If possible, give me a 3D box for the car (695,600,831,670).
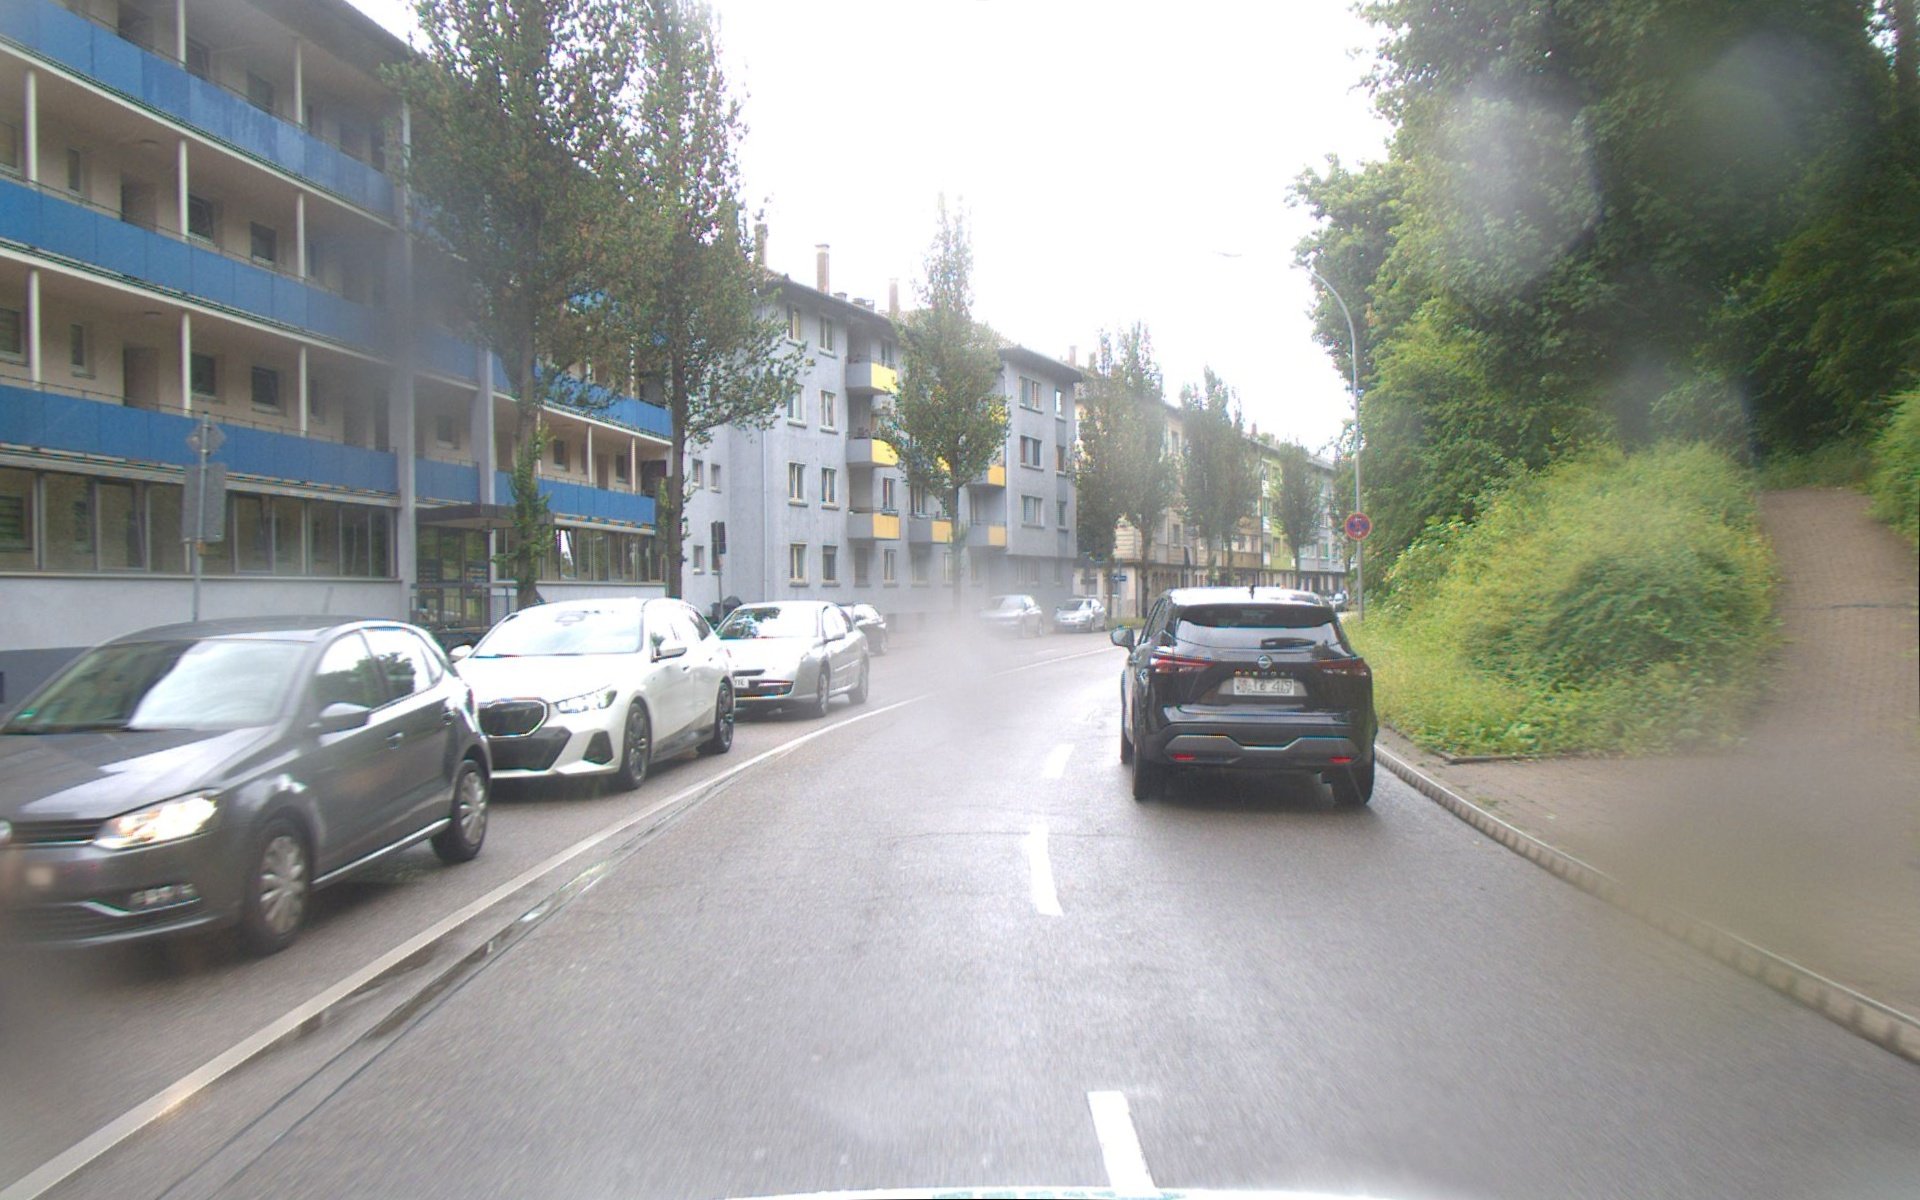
[{"bbox_3d":[-4.543,0.781,38.816,1.742,1.427,4.092,-3,0,14],"label":"car"}]

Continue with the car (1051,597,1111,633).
[{"bbox_3d":[5.301,0.646,72.031,1.688,1.478,4.208,-2,0,17],"label":"car"}]

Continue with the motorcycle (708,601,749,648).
[{"bbox_3d":[-7.376,0.760,52.802,0.661,1.438,2.238,1,0,8],"label":"motorcycle"}]

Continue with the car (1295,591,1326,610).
[{"bbox_3d":[28.654,0.055,135.047,1.780,1.396,4.681,-3,0,20],"label":"car"}]

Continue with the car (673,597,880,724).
[{"bbox_3d":[-2.298,0.721,21.936,1.715,1.450,4.540,-1,0,7],"label":"car"}]

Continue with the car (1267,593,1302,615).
[{"bbox_3d":[24.260,0.284,123.604,1.683,1.514,4.515,-3,0,21],"label":"car"}]

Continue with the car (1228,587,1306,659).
[{"bbox_3d":[7.837,0.552,42.158,1.846,1.741,4.004,-1,0,11],"label":"car"}]

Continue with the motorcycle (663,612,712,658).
[{"bbox_3d":[-7.969,1.001,48.438,0.660,1.276,2.238,1,0,11],"label":"motorcycle"}]

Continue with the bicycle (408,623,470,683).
[{"bbox_3d":[-9.609,0.963,30.532,0.599,1.041,1.733,-2,0,-1],"label":"bicycle"}]

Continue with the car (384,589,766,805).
[{"bbox_3d":[-3.170,0.716,14.830,1.782,1.543,5.031,-3,0,5],"label":"car"}]

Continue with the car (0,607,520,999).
[{"bbox_3d":[-3.659,0.821,8.396,1.645,1.472,3.821,-2,0,2],"label":"car"}]

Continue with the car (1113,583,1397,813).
[{"bbox_3d":[2.259,0.668,13.655,1.806,1.610,4.002,0,1,3],"label":"car"}]

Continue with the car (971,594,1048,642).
[{"bbox_3d":[1.878,0.633,61.566,1.726,1.632,4.536,-2,0,16],"label":"car"}]

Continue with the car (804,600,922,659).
[{"bbox_3d":[-2.655,0.794,46.539,1.782,1.464,4.896,-3,-1,15],"label":"car"}]
